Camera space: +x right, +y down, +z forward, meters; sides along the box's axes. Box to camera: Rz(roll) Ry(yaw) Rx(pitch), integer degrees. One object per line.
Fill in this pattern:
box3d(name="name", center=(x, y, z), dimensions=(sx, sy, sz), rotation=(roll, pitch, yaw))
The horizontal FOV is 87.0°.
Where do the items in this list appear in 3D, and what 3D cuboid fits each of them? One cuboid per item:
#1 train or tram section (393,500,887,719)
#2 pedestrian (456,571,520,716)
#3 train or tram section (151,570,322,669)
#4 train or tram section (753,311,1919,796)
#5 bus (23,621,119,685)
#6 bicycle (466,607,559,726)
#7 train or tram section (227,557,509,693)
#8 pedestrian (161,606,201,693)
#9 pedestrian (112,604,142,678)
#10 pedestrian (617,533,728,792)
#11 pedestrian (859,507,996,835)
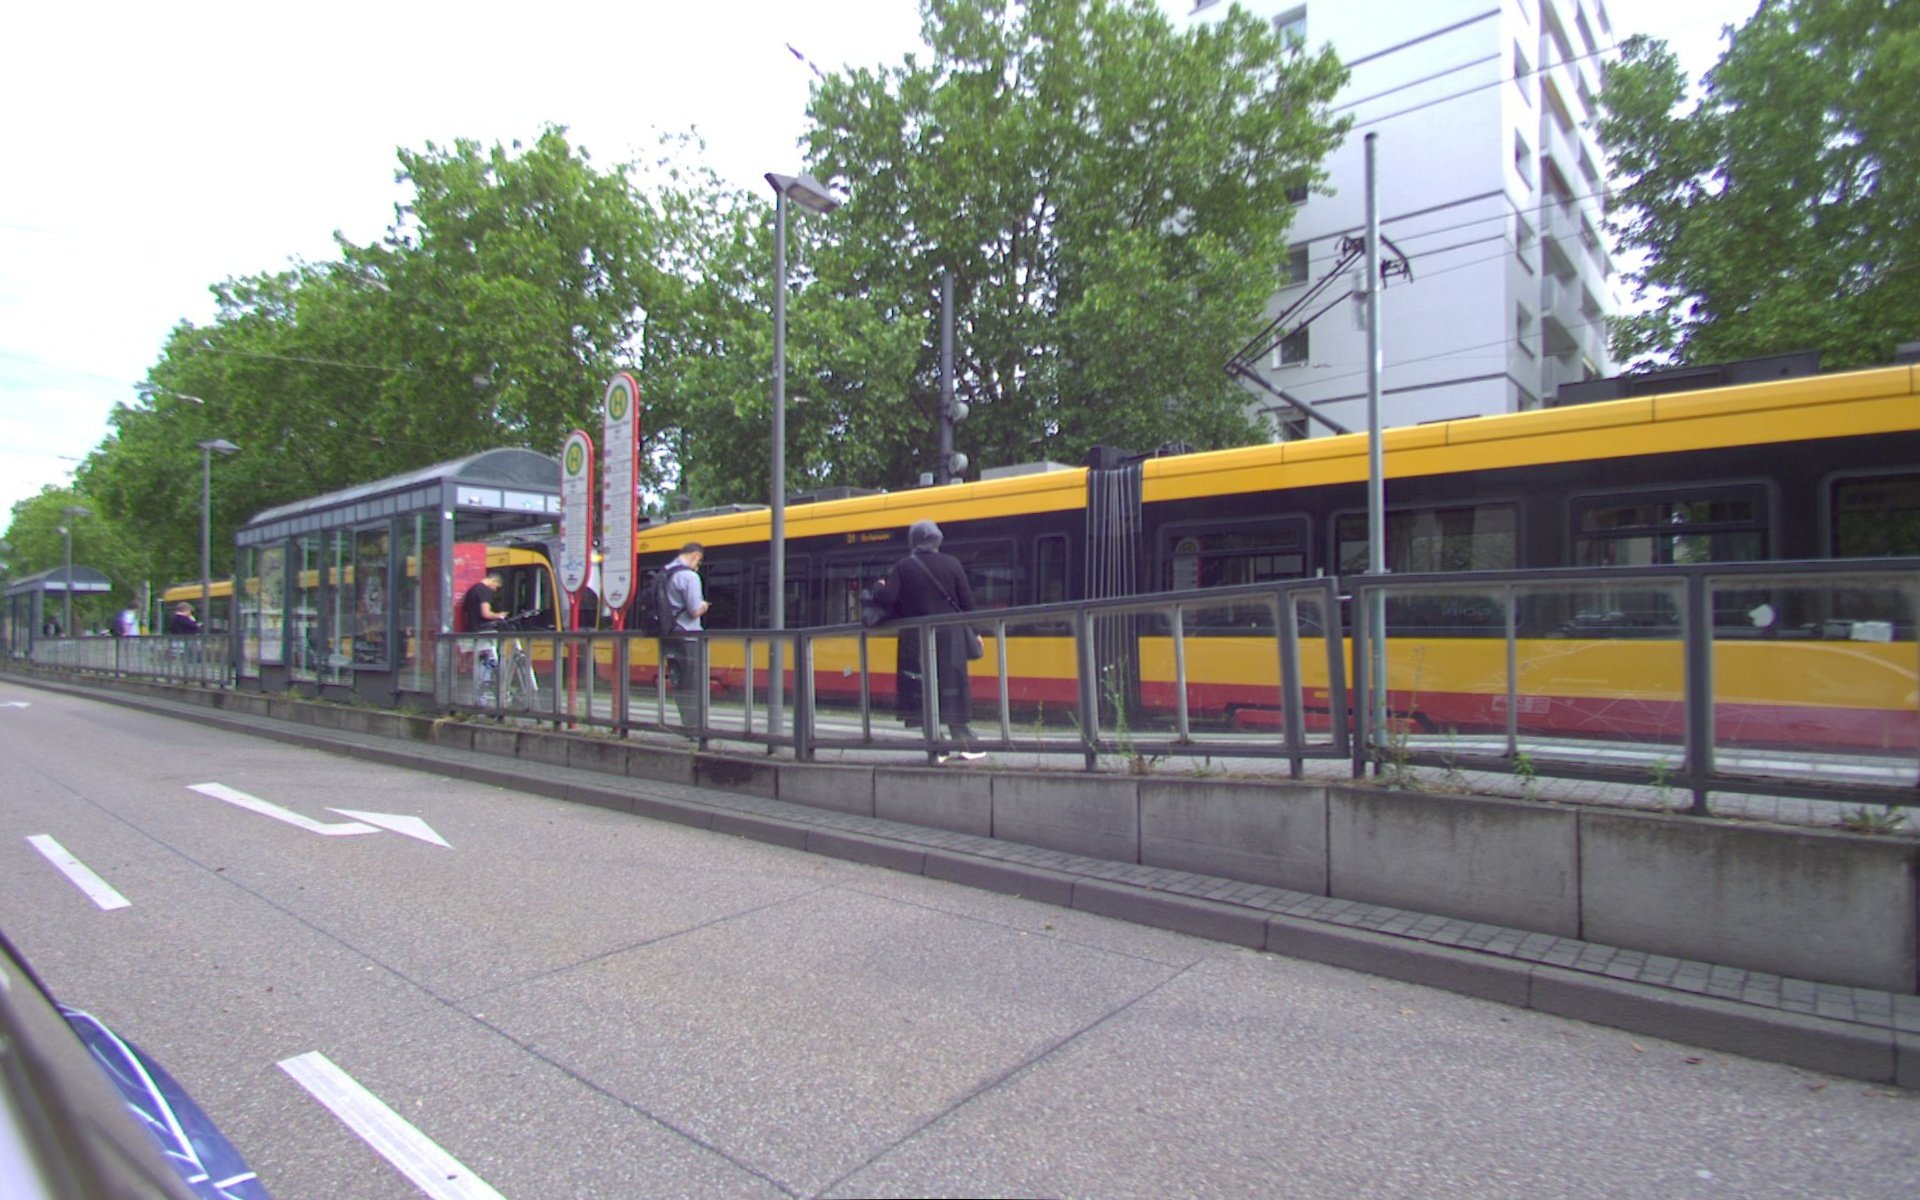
box3d(name="train or tram section", center=(-8.123, 0.335, 22.687), dimensions=(15.286, 3.558, 3.028), rotation=(-2, -1, 41))
box3d(name="pedestrian", center=(-5.547, 0.501, 11.891), dimensions=(0.471, 1.645, 0.526), rotation=(-2, -1, 39))
box3d(name="train or tram section", center=(-30.438, 0.858, 42.228), dimensions=(12.533, 3.589, 3.060), rotation=(-2, -1, 41))
box3d(name="train or tram section", center=(3.385, -0.194, 12.610), dimensions=(15.286, 3.558, 3.028), rotation=(-2, -1, 41))
box3d(name="bus", center=(-30.413, 1.753, 34.590), dimensions=(3.998, 2.029, 1.973), rotation=(-2, -1, 41))
box3d(name="bicycle", center=(-4.904, 0.704, 11.063), dimensions=(1.289, 1.231, 0.414), rotation=(-2, -1, 41))
box3d(name="train or tram section", center=(-19.803, 0.840, 32.890), dimensions=(15.763, 3.558, 3.028), rotation=(-2, -1, 41))
box3d(name="pedestrian", center=(-15.126, 0.945, 19.650), dimensions=(0.730, 1.645, 0.507), rotation=(-2, -1, 42))
box3d(name="pedestrian", center=(-18.710, 0.913, 22.737), dimensions=(0.392, 1.645, 0.474), rotation=(-2, -1, 42))
box3d(name="pedestrian", center=(-2.422, 0.493, 8.477), dimensions=(0.742, 2.029, 0.821), rotation=(0, -1, -26))
box3d(name="pedestrian", center=(-0.195, 0.451, 6.678), dimensions=(0.808, 2.029, 0.754), rotation=(-1, -1, 4))
